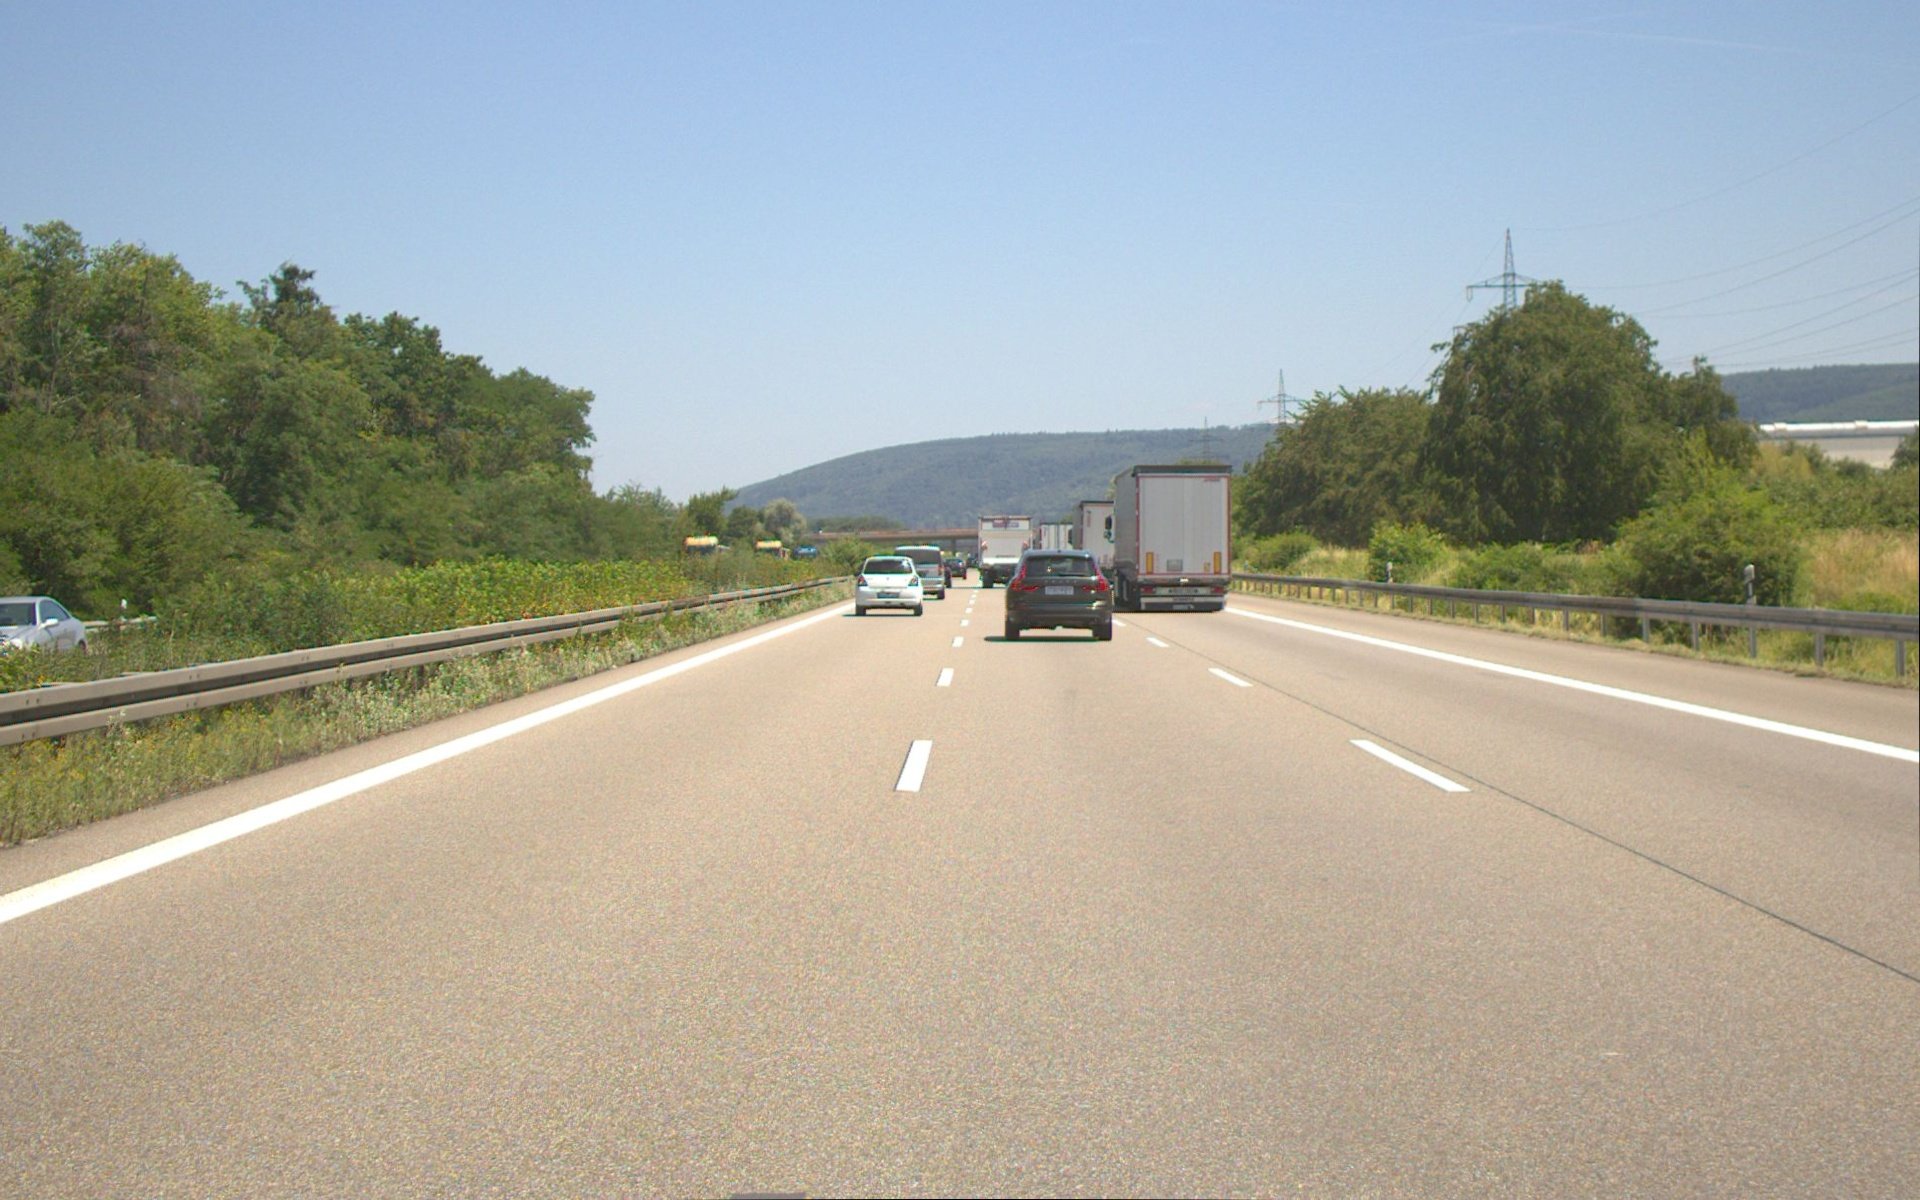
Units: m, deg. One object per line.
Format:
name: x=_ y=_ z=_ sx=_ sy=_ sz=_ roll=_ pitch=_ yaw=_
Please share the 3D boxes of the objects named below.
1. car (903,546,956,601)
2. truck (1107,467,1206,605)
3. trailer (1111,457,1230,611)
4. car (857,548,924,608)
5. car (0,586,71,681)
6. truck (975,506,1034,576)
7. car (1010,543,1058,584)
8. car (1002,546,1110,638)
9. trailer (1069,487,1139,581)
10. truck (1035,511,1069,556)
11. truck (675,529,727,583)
car: x=-1.065 y=-0.962 z=121.736 sx=1.761 sy=1.844 sz=4.000 roll=-2 pitch=1 yaw=0
truck: x=5.971 y=-1.934 z=105.438 sx=2.736 sy=4.105 sz=6.125 roll=0 pitch=1 yaw=1
trailer: x=5.894 y=-1.841 z=98.217 sx=2.736 sy=4.092 sz=13.122 roll=0 pitch=1 yaw=1
car: x=-1.768 y=-0.590 z=88.423 sx=1.607 sy=1.462 sz=4.000 roll=-2 pitch=1 yaw=0
car: x=-15.335 y=0.510 z=53.605 sx=1.853 sy=1.374 sz=4.311 roll=-1 pitch=1 yaw=-1
truck: x=2.167 y=-2.838 z=167.461 sx=2.782 sy=3.361 sz=8.127 roll=0 pitch=0 yaw=0
car: x=2.822 y=-1.413 z=131.760 sx=1.803 sy=1.540 sz=4.000 roll=0 pitch=1 yaw=1
car: x=1.713 y=-0.165 z=62.453 sx=1.873 sy=1.618 sz=4.004 roll=0 pitch=1 yaw=0
trailer: x=6.660 y=-3.027 z=160.572 sx=2.789 sy=4.149 sz=13.574 roll=-2 pitch=1 yaw=1
truck: x=6.684 y=-4.818 z=250.386 sx=2.221 sy=3.198 sz=10.384 roll=-1 pitch=1 yaw=1
truck: x=-18.104 y=-3.081 z=240.851 sx=2.538 sy=3.622 sz=11.845 roll=-3 pitch=1 yaw=0
